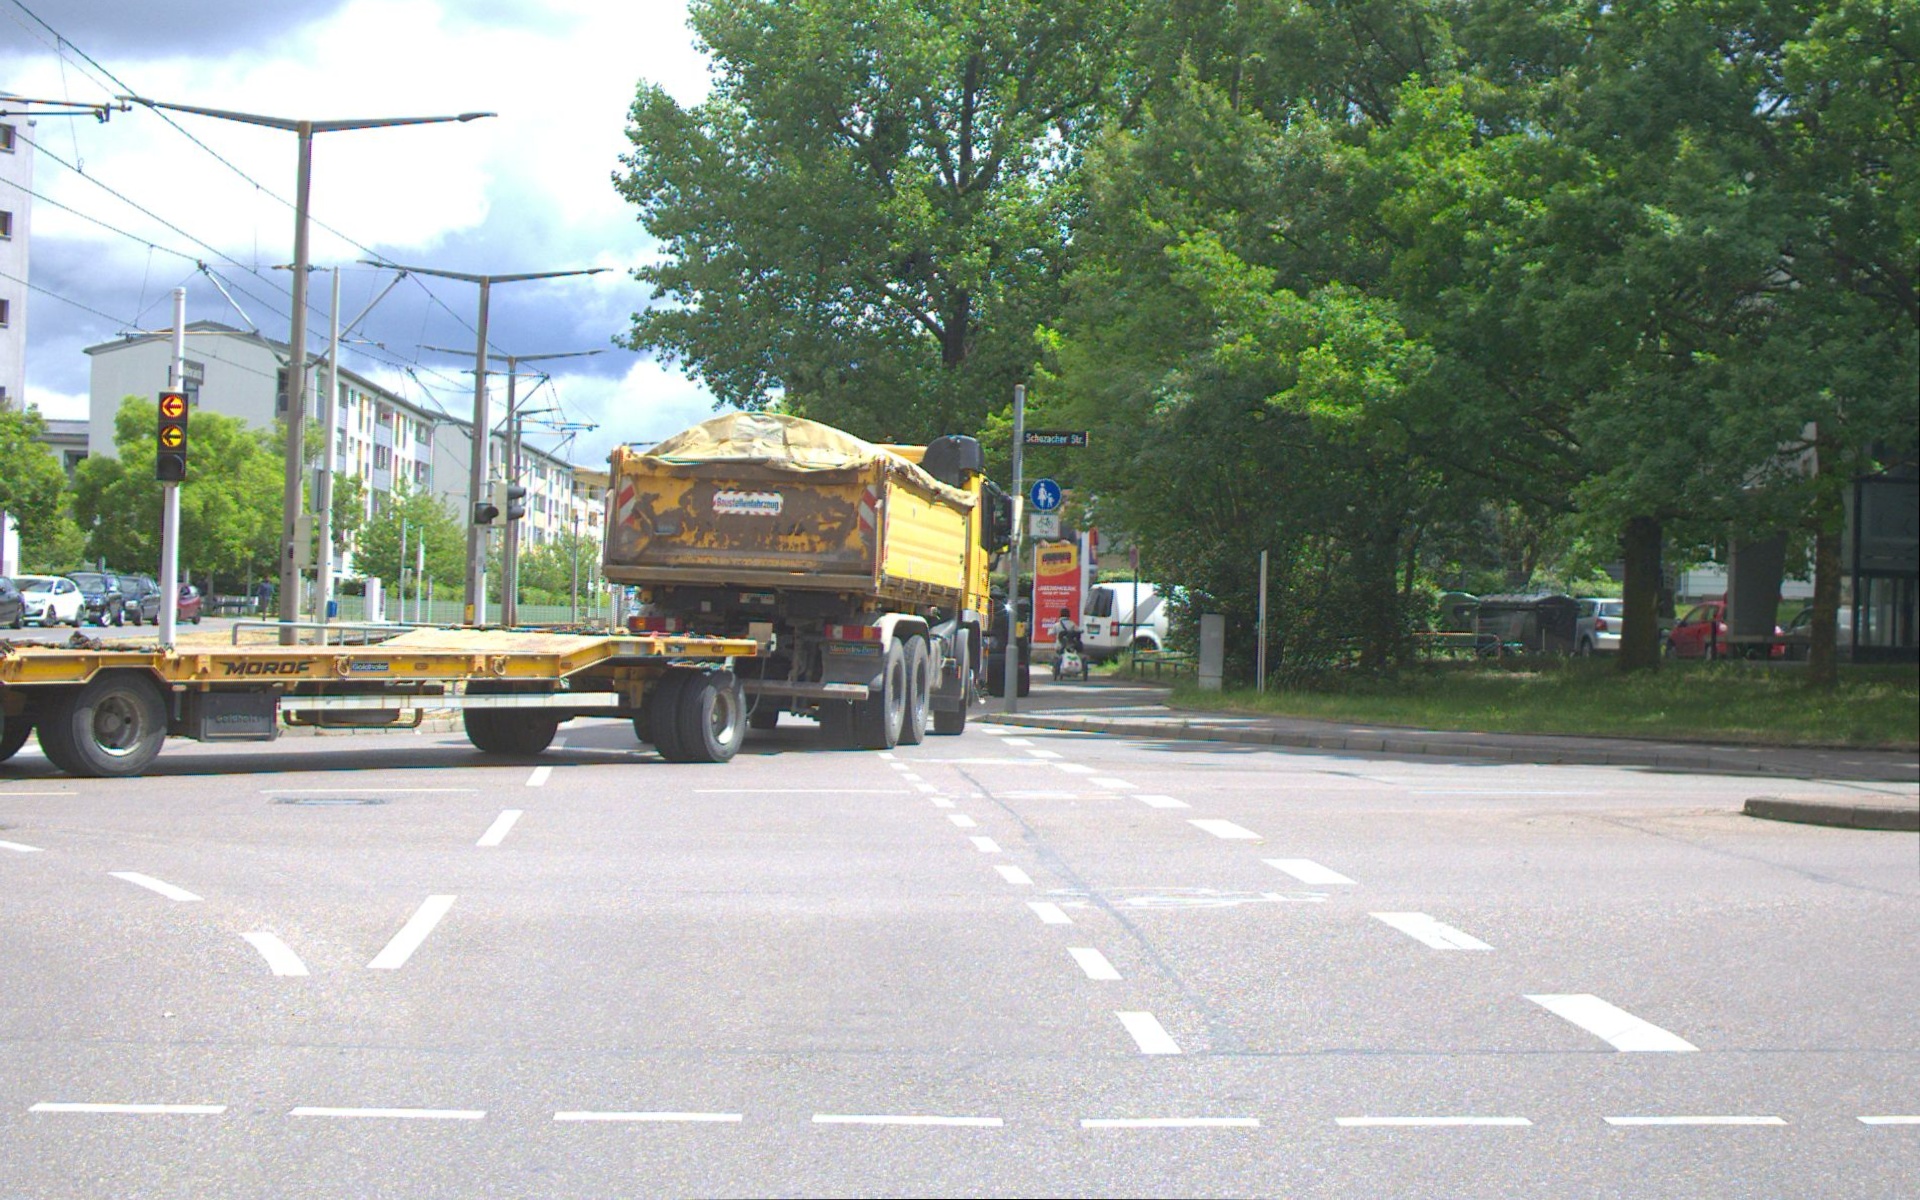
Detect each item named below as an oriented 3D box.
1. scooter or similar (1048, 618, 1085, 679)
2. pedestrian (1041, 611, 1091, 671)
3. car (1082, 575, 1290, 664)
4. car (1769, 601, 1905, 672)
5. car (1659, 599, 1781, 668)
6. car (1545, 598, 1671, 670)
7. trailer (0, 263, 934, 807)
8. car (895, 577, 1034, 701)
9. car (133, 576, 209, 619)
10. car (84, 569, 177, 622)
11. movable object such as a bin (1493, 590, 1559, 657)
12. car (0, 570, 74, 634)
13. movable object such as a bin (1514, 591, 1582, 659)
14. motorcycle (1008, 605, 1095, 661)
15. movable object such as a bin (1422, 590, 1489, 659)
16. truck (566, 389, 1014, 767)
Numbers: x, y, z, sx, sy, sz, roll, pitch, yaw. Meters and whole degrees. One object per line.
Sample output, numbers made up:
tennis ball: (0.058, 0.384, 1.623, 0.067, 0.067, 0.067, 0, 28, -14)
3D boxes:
scooter or similar: (1.905, 0.864, 61.595, 0.476, 1.051, 0.897, 1, 0, -9)
pedestrian: (1.898, 0.737, 61.584, 0.775, 1.051, 0.547, 1, 0, -9)
car: (4.784, 0.418, 72.781, 3.986, 1.816, 1.811, 1, 1, -26)
car: (19.432, 0.784, 76.350, 1.743, 1.465, 4.001, 1, 1, -4)
car: (17.002, 0.727, 77.082, 1.743, 1.438, 4.000, 1, 1, -1)
car: (14.406, 0.745, 76.597, 1.940, 1.485, 4.000, 1, 1, -1)
trailer: (-5.513, -0.464, 26.934, 11.580, 3.760, 3.059, 0, 1, -43)
car: (0.026, 0.556, 52.060, 1.643, 1.756, 4.570, 1, 1, -6)
car: (-26.774, -0.104, 116.745, 1.613, 1.421, 3.422, 1, 1, 4)
car: (-26.544, -0.153, 110.143, 1.993, 1.642, 4.100, 1, 1, 0)
movable object such as a bin: (12.436, 0.509, 75.581, 1.115, 1.425, 1.286, 1, 0, -6)
car: (-25.996, 0.037, 95.459, 1.993, 1.657, 4.100, 3, 0, -5)
movable object such as a bin: (12.630, 0.532, 73.868, 1.115, 1.425, 1.286, 1, 0, -6)
motorcycle: (2.040, 0.736, 76.533, 1.794, 1.206, 0.712, 1, 0, -25)
movable object such as a bin: (10.528, 0.508, 73.024, 1.115, 1.425, 1.286, 1, 0, -6)
truck: (-1.466, -0.241, 34.512, 2.835, 3.319, 7.981, 1, 1, 9)
